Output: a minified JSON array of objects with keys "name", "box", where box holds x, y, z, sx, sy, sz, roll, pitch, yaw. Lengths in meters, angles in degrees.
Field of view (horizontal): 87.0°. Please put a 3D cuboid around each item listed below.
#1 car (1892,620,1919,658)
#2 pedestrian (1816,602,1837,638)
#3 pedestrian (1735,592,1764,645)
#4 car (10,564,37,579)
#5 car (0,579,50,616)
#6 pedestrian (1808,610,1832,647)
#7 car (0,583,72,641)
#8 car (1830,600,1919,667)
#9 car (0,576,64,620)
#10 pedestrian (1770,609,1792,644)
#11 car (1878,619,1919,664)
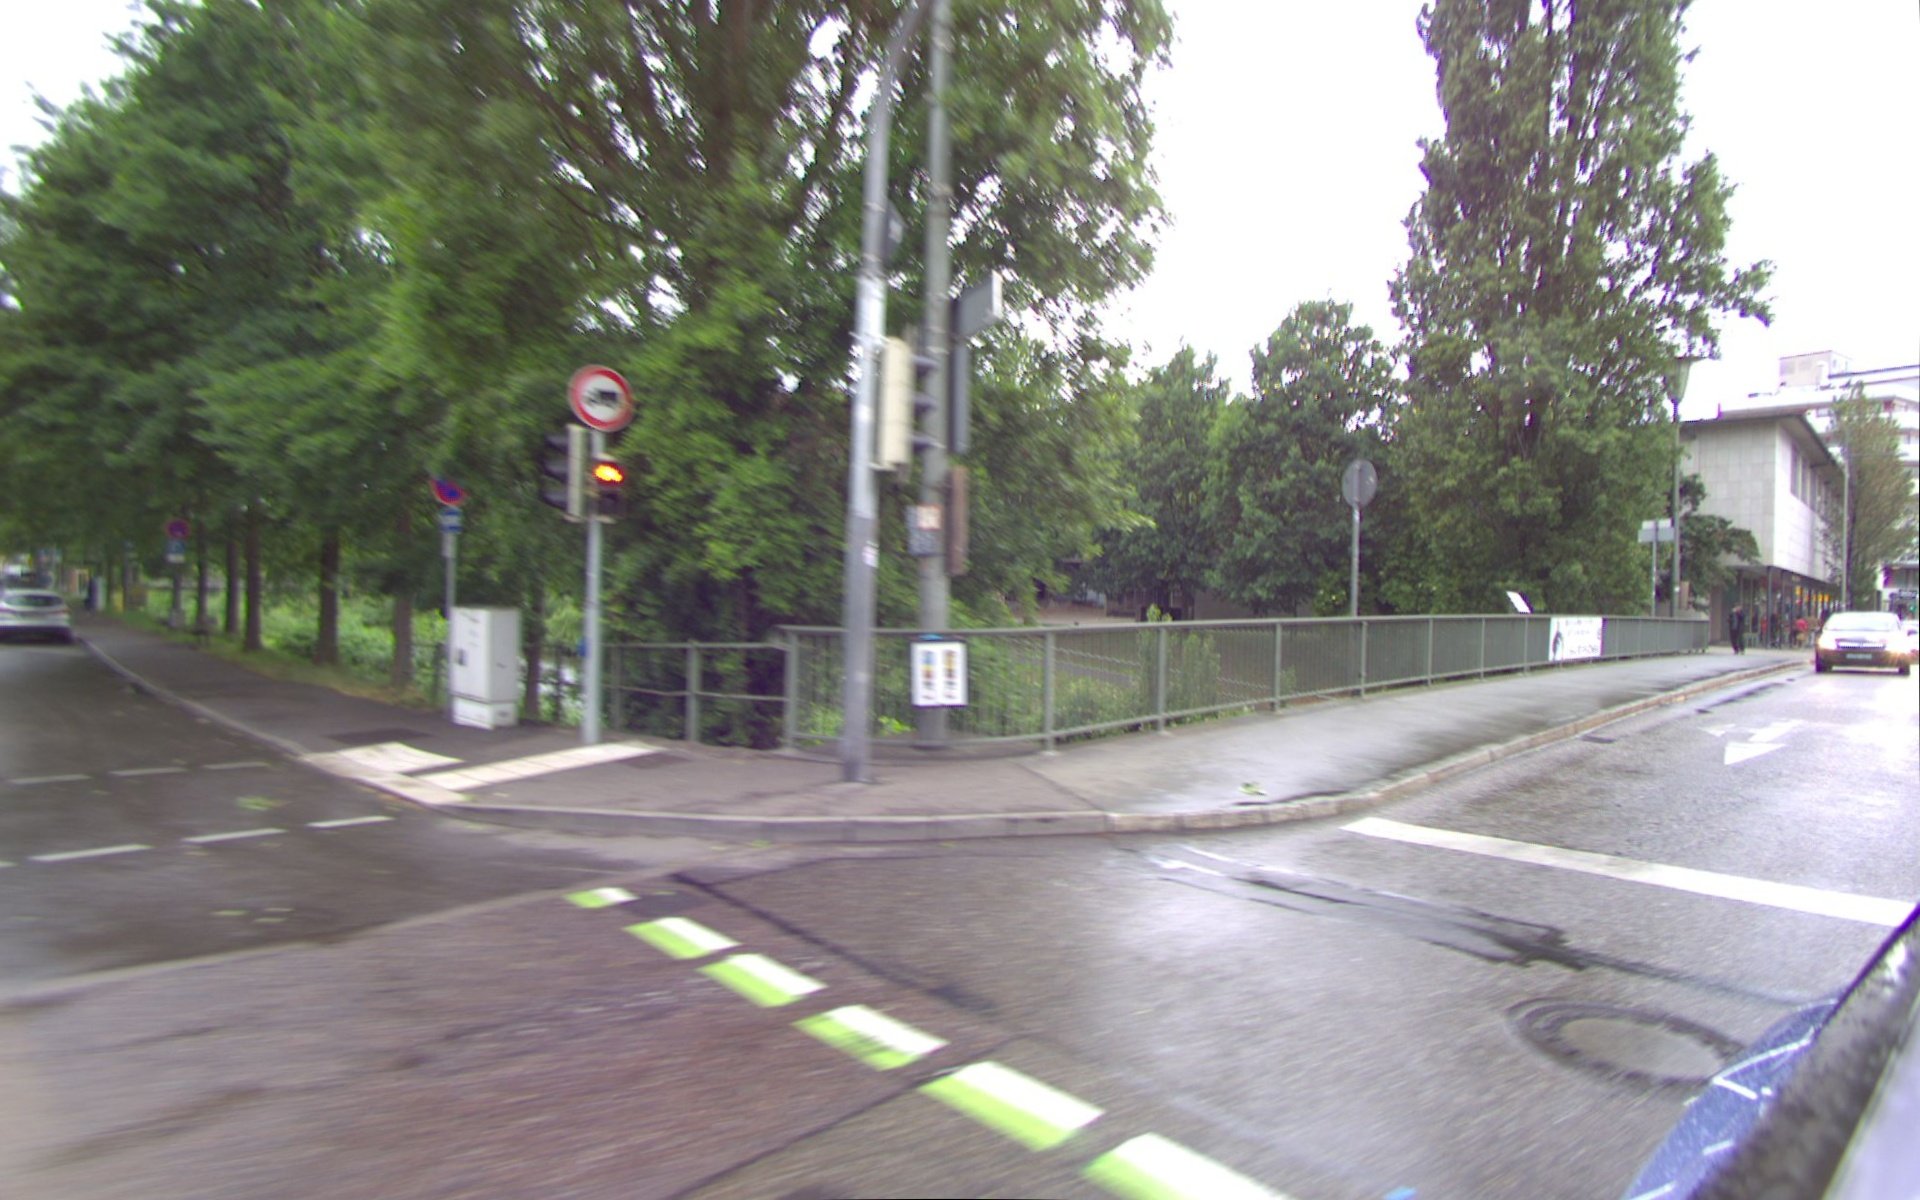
[{"name":"car","box":[46.047,1.846,48.434,4.175,1.700,1.733,1,-1,-42]},{"name":"pedestrian","box":[44.305,1.021,51.724,0.596,1.824,0.699,2,1,-45]},{"name":"pedestrian","box":[25.429,0.591,32.587,0.640,1.685,0.554,2,-1,45]},{"name":"car","box":[-104.909,-3.218,113.396,1.964,1.566,3.995,0,0,-40]},{"name":"car","box":[-42.077,-0.114,45.174,1.964,1.566,3.995,0,0,-40]},{"name":"pedestrian","box":[39.809,1.310,46.840,0.757,1.640,0.717,2,1,-45]},{"name":"car","box":[-26.755,0.321,28.974,1.857,1.566,3.995,0,0,-40]},{"name":"car","box":[22.054,0.787,24.195,1.708,1.476,3.682,0,-1,44]},{"name":"car","box":[-35.508,-0.075,38.510,1.964,1.566,3.995,0,0,-40]},{"name":"pedestrian","box":[38.625,1.245,47.612,0.596,1.609,0.726,2,1,-45]},{"name":"car","box":[32.639,1.410,34.675,1.592,1.459,3.568,0,-1,45]}]
